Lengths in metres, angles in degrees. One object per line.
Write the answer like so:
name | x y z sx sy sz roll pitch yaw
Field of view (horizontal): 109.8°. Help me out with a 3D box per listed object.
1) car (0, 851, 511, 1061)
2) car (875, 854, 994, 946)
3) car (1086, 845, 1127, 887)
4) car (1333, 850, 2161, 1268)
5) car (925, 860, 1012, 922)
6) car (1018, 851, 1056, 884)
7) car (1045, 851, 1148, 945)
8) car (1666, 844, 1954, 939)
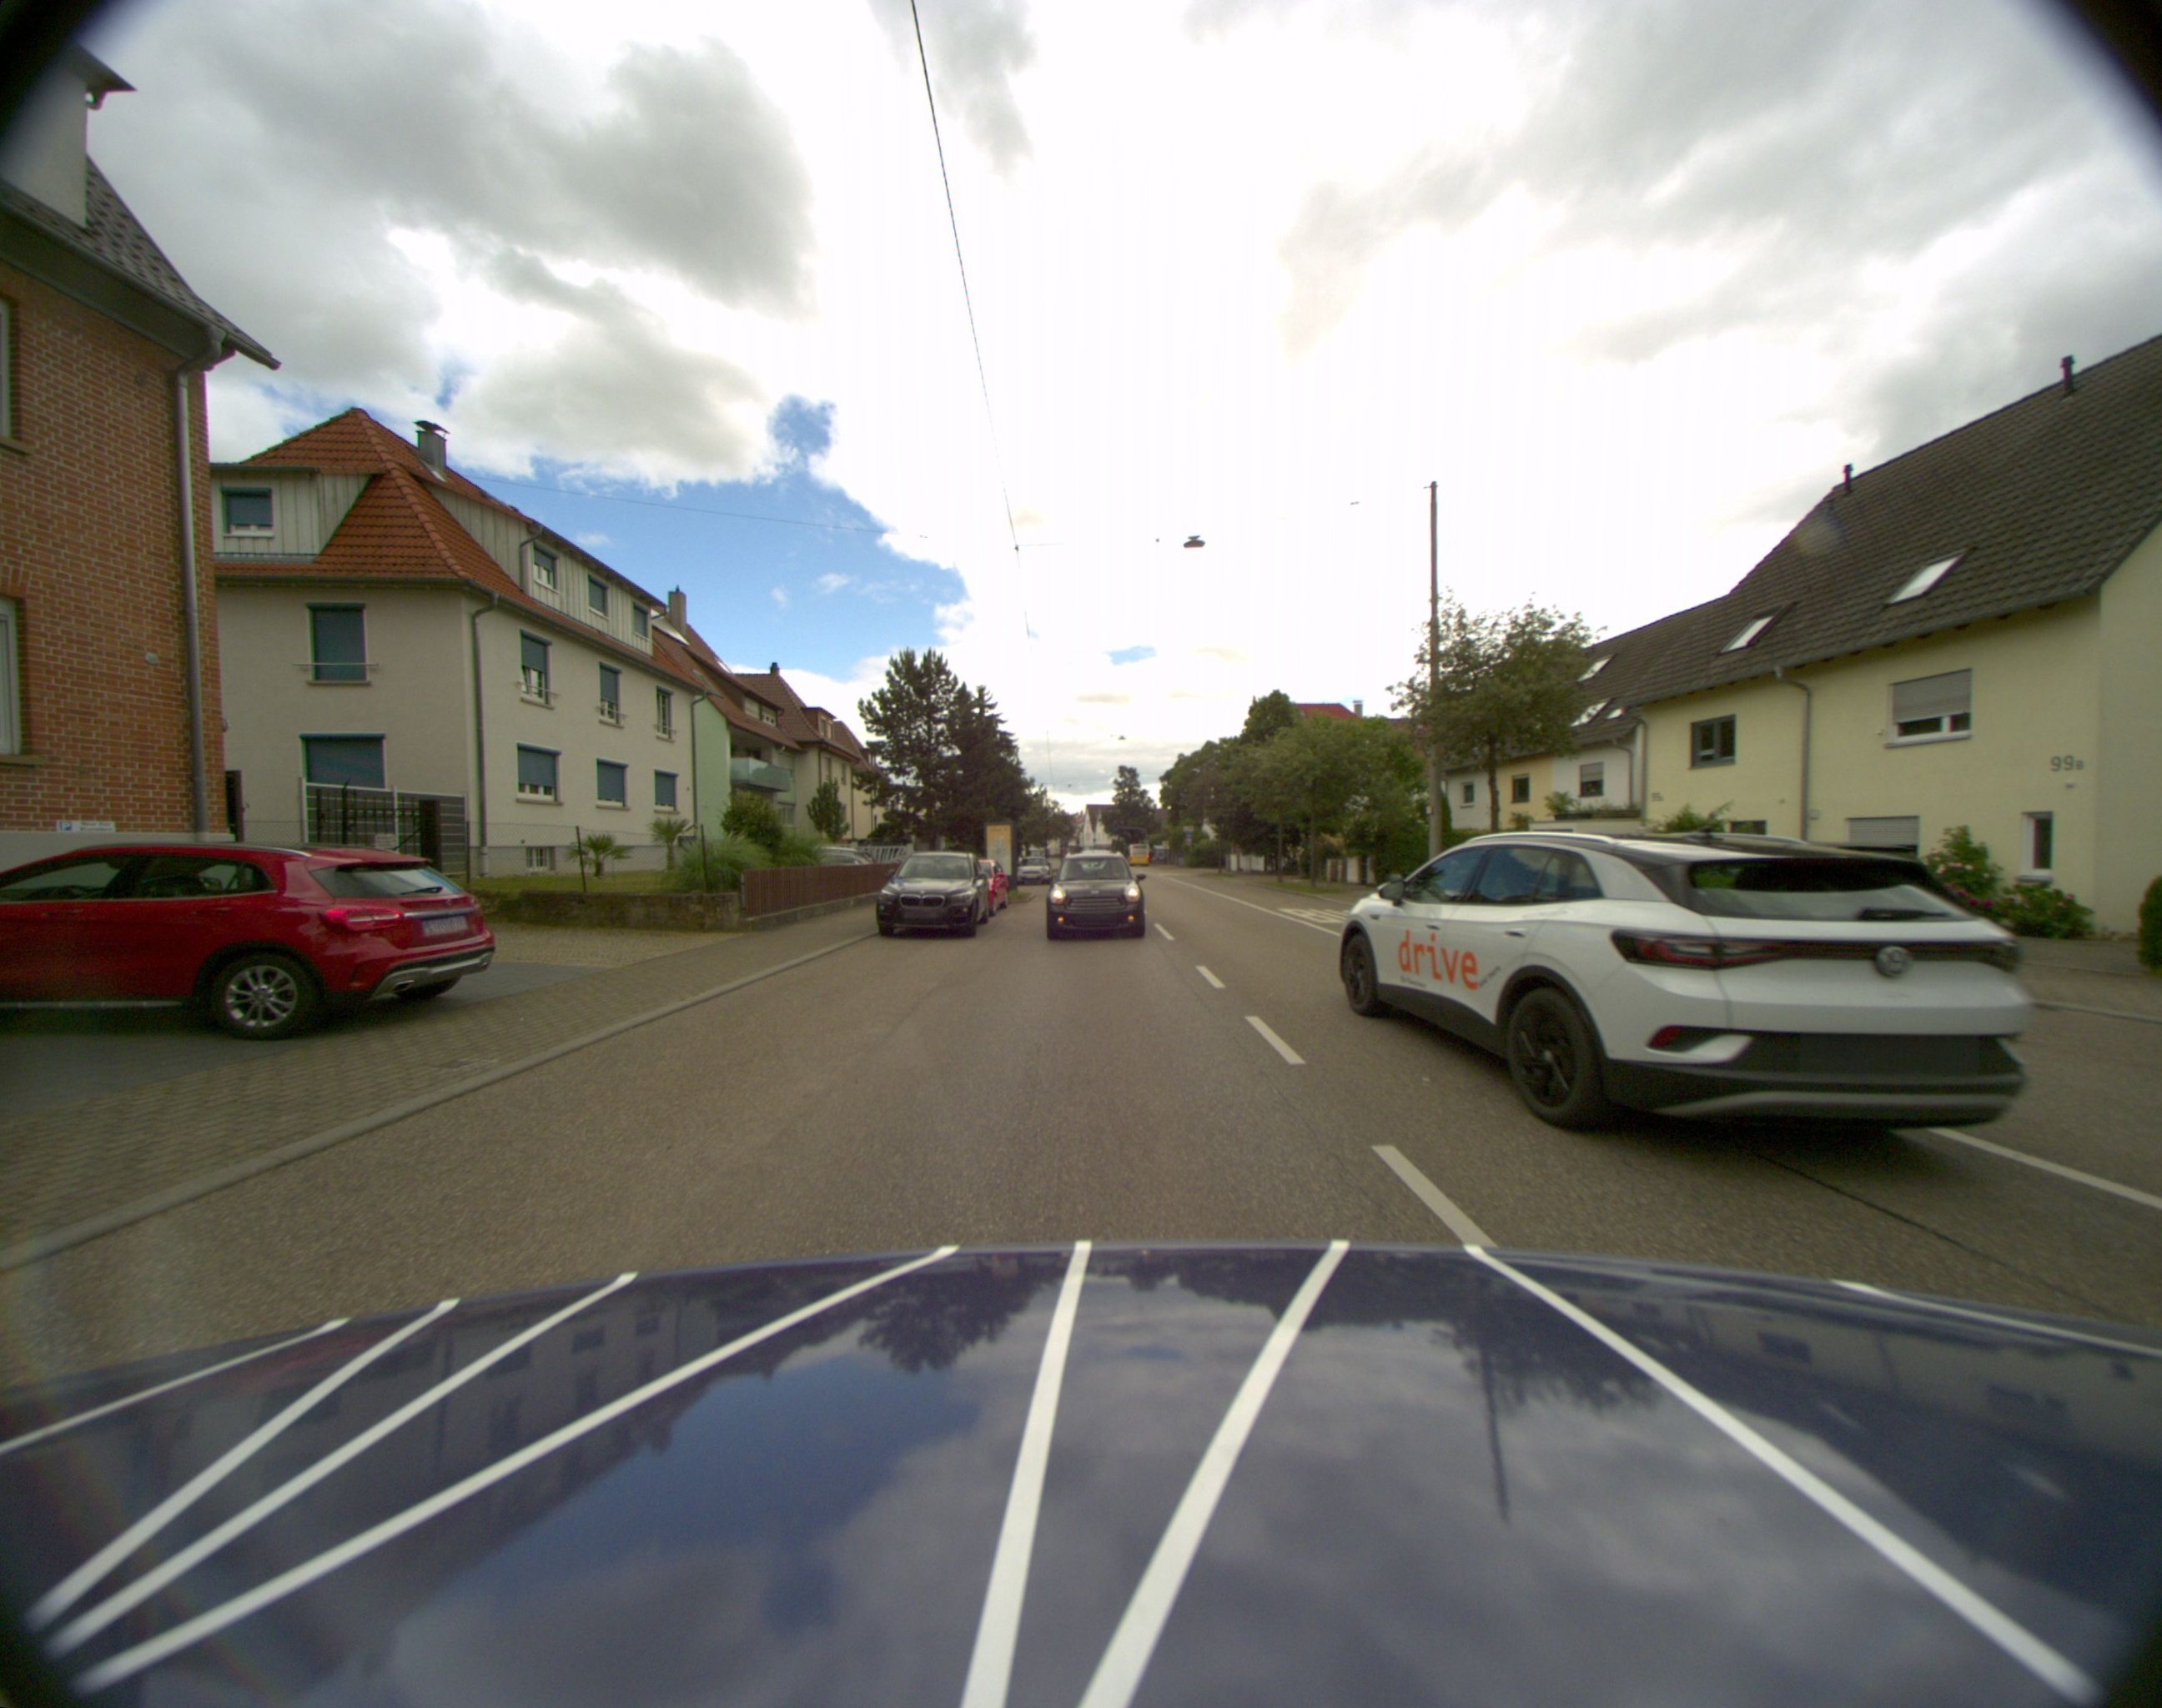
car | -7.196 0.769 6.406 3.362 1.451 1.748 2 1 -7
car | -2.830 0.812 15.530 1.728 1.582 4.156 1 1 -2
car | 1.012 0.449 31.328 1.590 1.598 3.684 0 1 1
car | 3.328 0.780 5.070 1.826 1.594 4.298 0 1 -1
car | -2.863 0.890 20.032 1.680 1.414 3.684 0 1 1
car | -2.198 0.671 38.890 1.680 1.573 3.684 0 1 1
car | 0.286 0.741 14.727 1.743 1.573 3.684 0 1 1
car | 13.448 0.603 14.415 1.752 1.513 3.916 1 1 2
